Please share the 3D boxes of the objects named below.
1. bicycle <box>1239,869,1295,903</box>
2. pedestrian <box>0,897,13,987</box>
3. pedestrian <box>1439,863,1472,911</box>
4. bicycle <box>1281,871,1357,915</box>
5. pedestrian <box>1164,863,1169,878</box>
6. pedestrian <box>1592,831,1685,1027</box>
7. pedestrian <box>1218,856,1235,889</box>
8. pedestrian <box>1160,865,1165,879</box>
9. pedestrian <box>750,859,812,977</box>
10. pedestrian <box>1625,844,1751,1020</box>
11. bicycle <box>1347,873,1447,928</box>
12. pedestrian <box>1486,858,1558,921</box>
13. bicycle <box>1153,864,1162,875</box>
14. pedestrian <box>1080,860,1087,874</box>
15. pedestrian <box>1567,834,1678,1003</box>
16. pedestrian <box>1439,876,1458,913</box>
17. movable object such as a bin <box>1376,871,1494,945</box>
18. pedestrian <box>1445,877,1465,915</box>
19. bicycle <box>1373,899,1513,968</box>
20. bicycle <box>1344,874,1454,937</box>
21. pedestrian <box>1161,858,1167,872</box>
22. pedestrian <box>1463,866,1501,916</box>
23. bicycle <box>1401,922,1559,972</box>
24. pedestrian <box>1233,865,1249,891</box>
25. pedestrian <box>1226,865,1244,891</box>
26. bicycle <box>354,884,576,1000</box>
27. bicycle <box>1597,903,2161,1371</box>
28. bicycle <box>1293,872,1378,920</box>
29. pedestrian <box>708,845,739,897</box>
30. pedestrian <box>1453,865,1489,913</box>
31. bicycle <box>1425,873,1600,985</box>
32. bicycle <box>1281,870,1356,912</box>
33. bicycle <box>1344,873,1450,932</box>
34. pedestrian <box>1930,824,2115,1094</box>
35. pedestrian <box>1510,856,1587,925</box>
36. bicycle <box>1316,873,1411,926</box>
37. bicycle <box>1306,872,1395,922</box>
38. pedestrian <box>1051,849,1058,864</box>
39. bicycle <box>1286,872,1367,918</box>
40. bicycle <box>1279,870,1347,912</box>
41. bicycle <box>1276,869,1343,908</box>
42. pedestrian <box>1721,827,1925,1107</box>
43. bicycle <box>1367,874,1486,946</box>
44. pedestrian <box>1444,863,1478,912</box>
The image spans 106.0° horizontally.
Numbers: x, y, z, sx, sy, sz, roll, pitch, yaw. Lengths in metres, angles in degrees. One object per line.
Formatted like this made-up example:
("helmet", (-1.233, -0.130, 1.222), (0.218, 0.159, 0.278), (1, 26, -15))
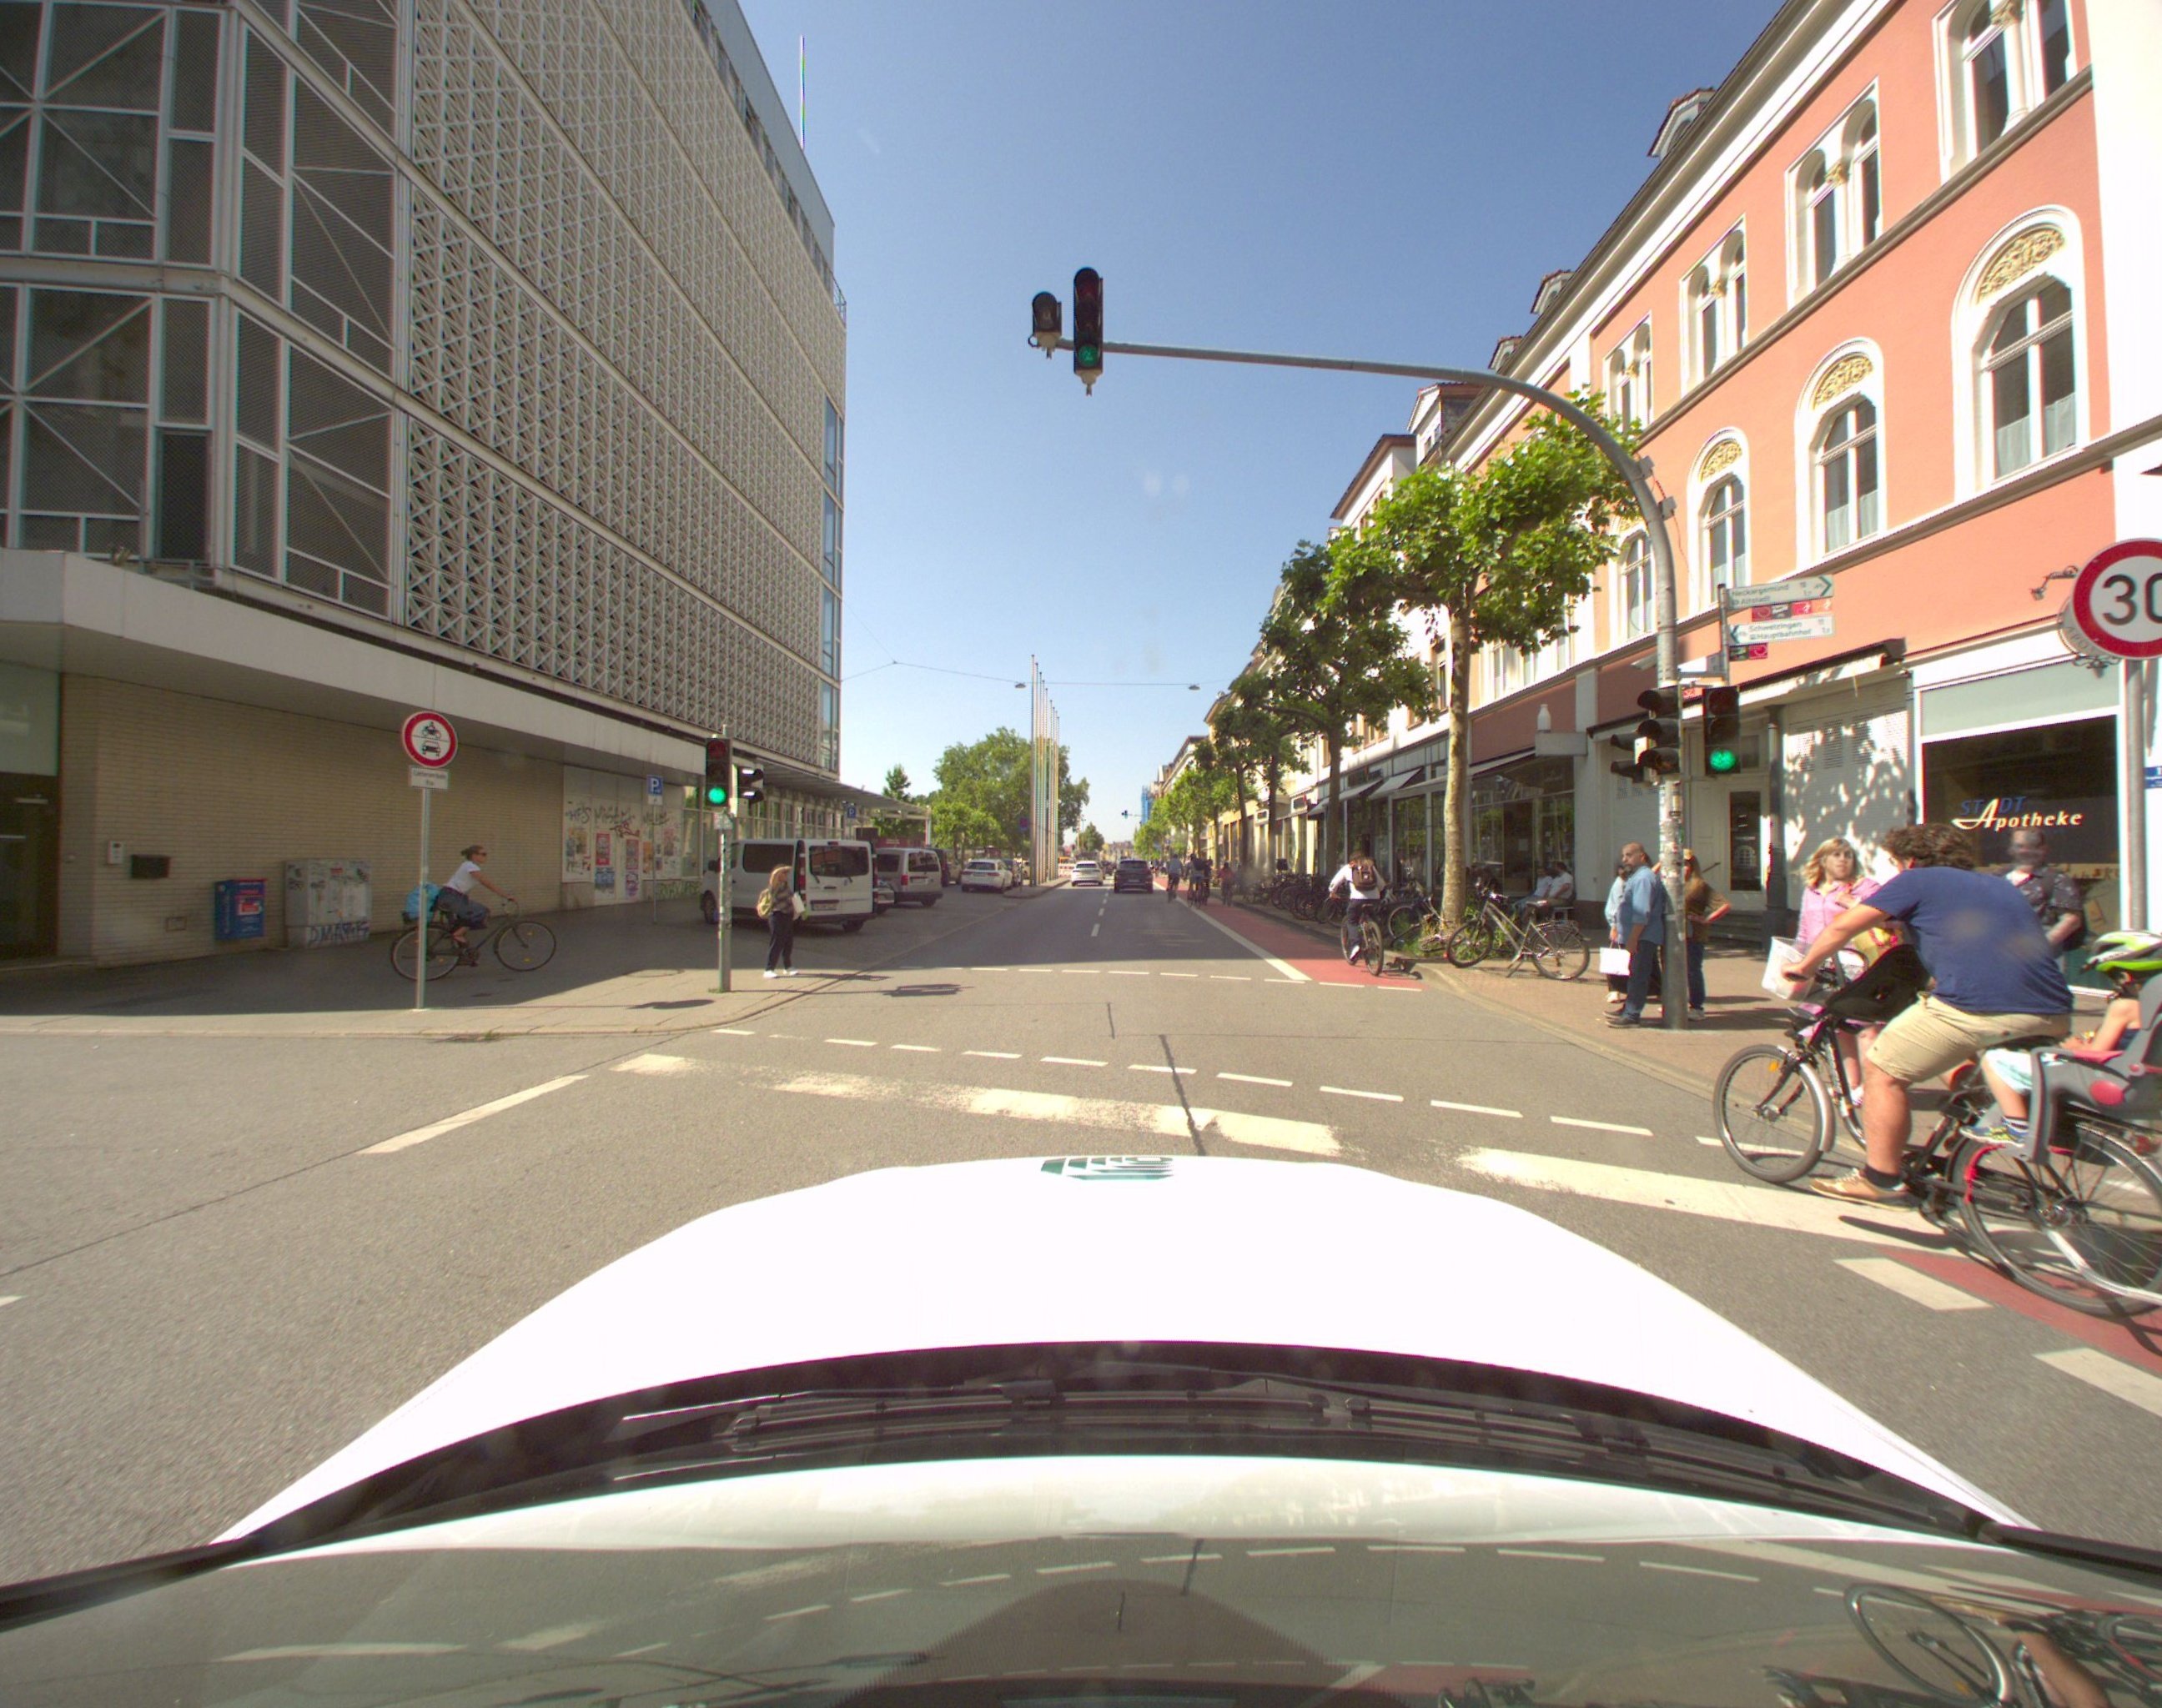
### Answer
("bicycle", (6.455, 1.101, 28.295), (1.832, 1.093, 0.565), (1, -1, 2))
("pedestrian", (-13.187, 1.023, 9.325), (0.719, 1.057, 0.841), (4, -1, 1))
("pedestrian", (10.542, 0.927, 22.943), (0.679, 1.333, 0.532), (0, -1, 0))
("bicycle", (6.195, 1.003, 21.244), (1.830, 1.127, 0.681), (0, -1, 6))
("pedestrian", (9.254, 1.811, 87.924), (0.546, 1.631, 0.590), (-1, -2, 5))
("pedestrian", (5.333, 0.691, 7.816), (0.451, 1.795, 0.608), (1, 0, 0))
("pedestrian", (7.479, 0.945, 41.952), (0.637, 1.689, 0.843), (3, 0, 0))
("pedestrian", (9.080, 2.022, 90.767), (0.520, 1.521, 0.642), (-1, -2, 5))
("pedestrian", (-4.102, 0.859, 11.178), (0.639, 1.559, 0.679), (2, 0, -9))
("pedestrian", (6.040, 0.750, 8.134), (0.785, 1.690, 0.641), (0, 0, 0))
("bicycle", (6.579, 0.963, 17.040), (1.831, 1.127, 0.667), (0, -2, 4))
("pedestrian", (10.286, 0.827, 19.028), (1.229, 1.422, 0.789), (-1, -2, 0))
("bicycle", (6.865, 1.404, 73.151), (0.644, 0.998, 2.032), (0, -1, 2))
("pedestrian", (0.307, 1.537, 93.468), (0.627, 1.595, 0.690), (0, -1, 23))
("pedestrian", (6.009, 0.690, 9.068), (0.785, 1.795, 0.641), (2, 0, 0))
("pedestrian", (9.926, 1.094, 22.005), (0.339, 0.968, 0.437), (0, -1, 4))
("movable object such as a bin", (6.239, 0.927, 14.439), (1.836, 1.189, 0.656), (2, 0, 17))
("pedestrian", (9.794, 1.102, 21.343), (0.363, 0.968, 0.437), (0, -1, 4))
("bicycle", (5.812, 1.300, 13.205), (1.842, 0.397, 1.019), (8, -35, 6))
("bicycle", (5.946, 0.952, 15.312), (1.829, 1.127, 0.668), (0, -2, 9))
("pedestrian", (10.715, 1.465, 105.092), (0.608, 1.824, 0.678), (0, -1, 1))
("pedestrian", (10.425, 0.950, 21.205), (0.637, 1.253, 0.608), (-2, -2, 0))
("bicycle", (6.008, 1.433, 12.395), (1.142, 0.434, 1.842), (-10, -5, -24))
("pedestrian", (7.770, 1.155, 39.466), (0.637, 1.233, 0.597), (1, -2, 0))
("pedestrian", (7.572, 1.190, 40.102), (0.785, 1.243, 0.576), (1, -2, 0))
("bicycle", (-8.040, 1.082, 10.747), (0.727, 1.267, 2.225), (0, 0, 39))
("bicycle", (3.479, 0.932, 3.529), (0.732, 1.269, 2.274), (1, 1, -11))
("bicycle", (6.086, 1.008, 19.524), (1.831, 1.127, 0.667), (0, -2, 4))
("pedestrian", (-11.035, 0.518, 25.169), (0.677, 1.559, 0.640), (0, -1, -3))
("pedestrian", (10.439, 0.935, 21.803), (0.679, 1.253, 0.532), (-1, 0, 0))
("bicycle", (5.520, 0.908, 10.485), (1.833, 1.188, 0.721), (4, 3, 40))
("bicycle", (6.578, 1.023, 22.626), (1.971, 1.127, 0.764), (-1, -2, 15))
("bicycle", (6.211, 0.951, 16.082), (1.831, 1.127, 0.667), (0, -2, 4))
("pedestrian", (6.890, 0.727, 5.992), (0.634, 1.843, 0.617), (2, -1, 14))
("pedestrian", (10.404, 0.798, 18.162), (1.248, 1.483, 0.837), (0, -1, 0))
("bicycle", (6.107, 0.979, 17.663), (1.831, 1.127, 0.644), (0, -2, 4))
("bicycle", (6.174, 0.981, 18.709), (1.831, 1.127, 0.667), (0, -2, 4))
("pedestrian", (-3.278, 0.337, 99.813), (0.627, 1.810, 0.735), (0, -2, 23))
("bicycle", (6.082, 1.018, 20.220), (1.831, 1.127, 0.530), (0, -2, 4))
("bicycle", (6.624, 1.054, 23.338), (1.827, 1.127, 0.532), (2, -1, 14))
("bicycle", (6.761, 1.024, 24.136), (1.831, 1.127, 0.449), (0, -2, 5))
("pedestrian", (4.975, 0.719, 5.511), (0.637, 1.709, 0.789), (4, -3, 0))
("bicycle", (5.918, 0.946, 14.008), (1.825, 1.127, 0.347), (2, 1, 17))
("pedestrian", (10.435, 0.914, 22.349), (0.679, 1.338, 0.532), (0, -1, 0))
